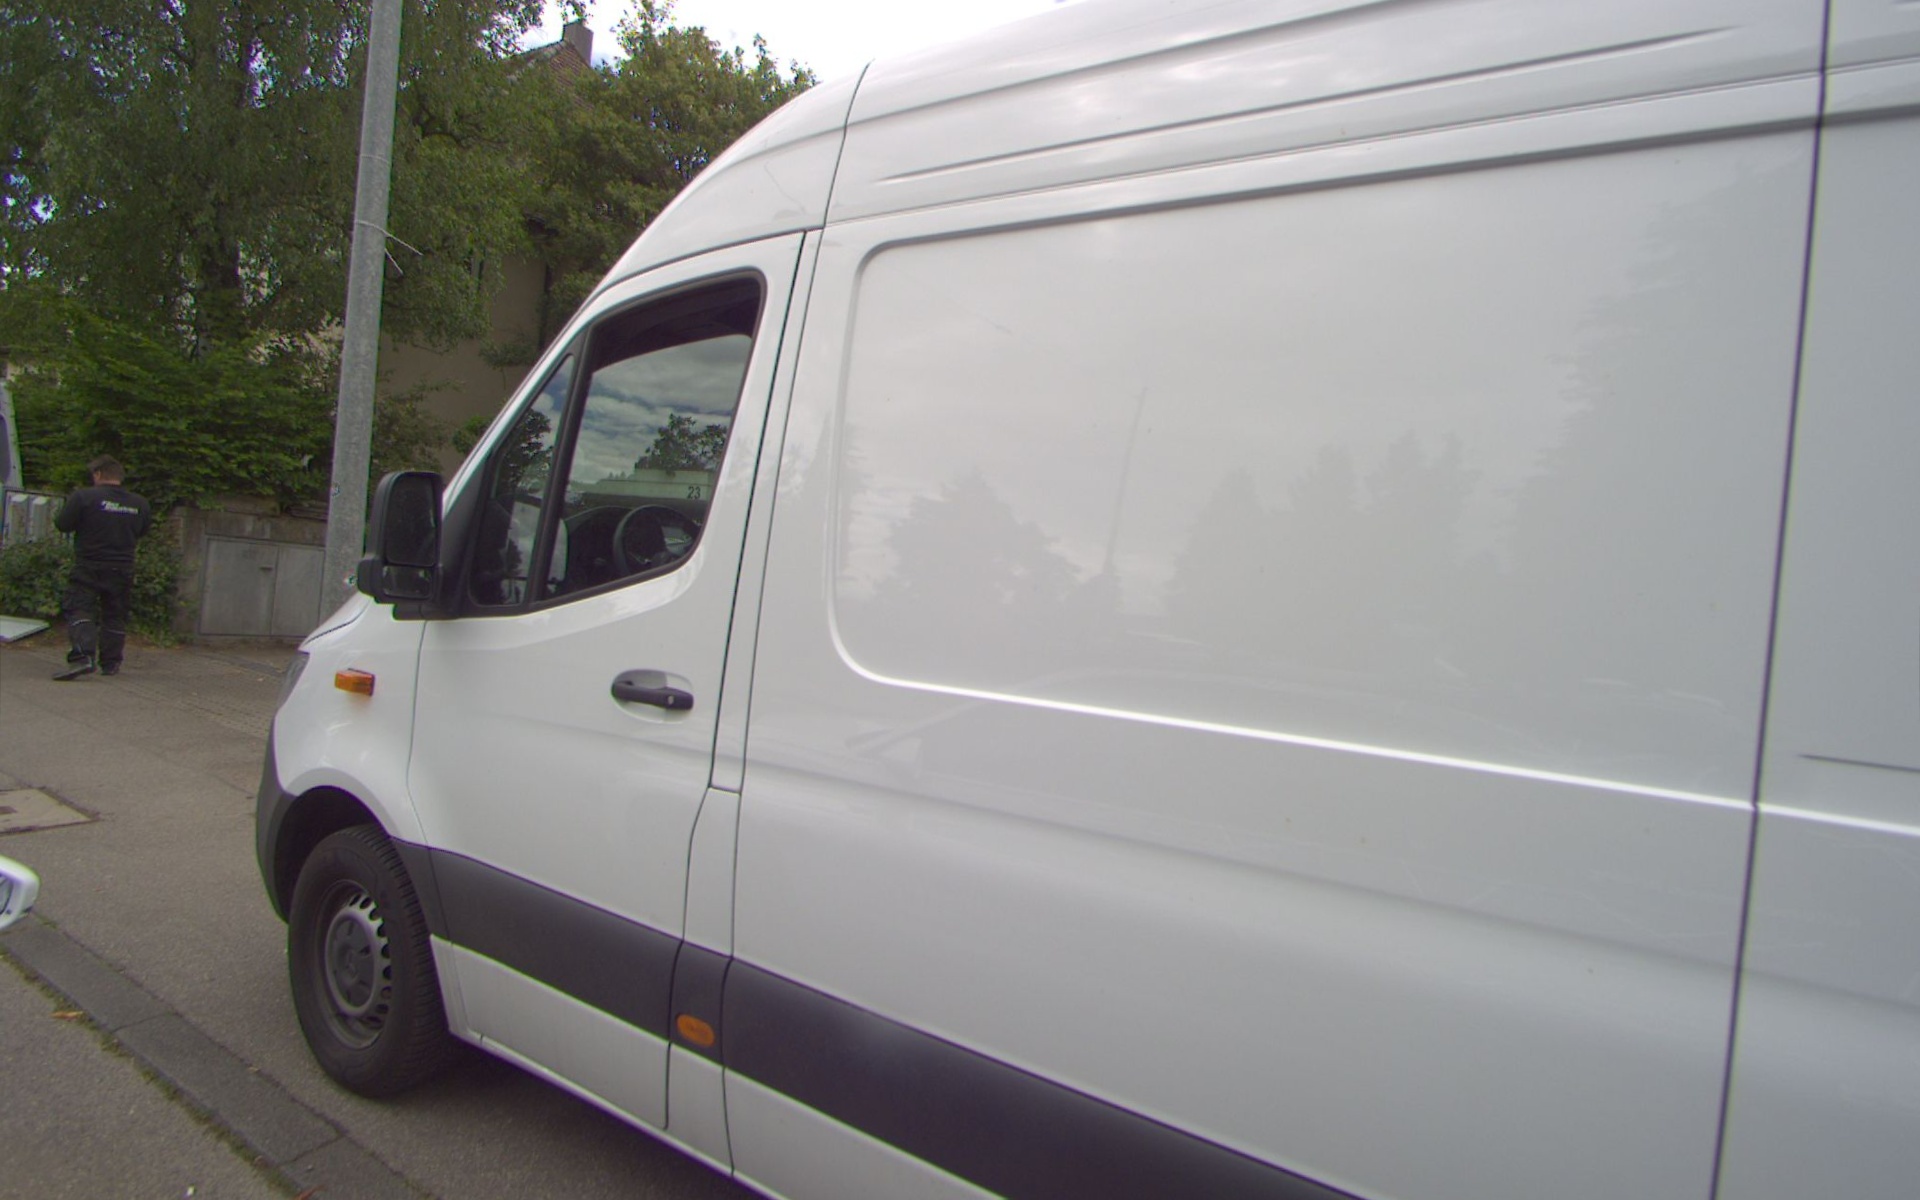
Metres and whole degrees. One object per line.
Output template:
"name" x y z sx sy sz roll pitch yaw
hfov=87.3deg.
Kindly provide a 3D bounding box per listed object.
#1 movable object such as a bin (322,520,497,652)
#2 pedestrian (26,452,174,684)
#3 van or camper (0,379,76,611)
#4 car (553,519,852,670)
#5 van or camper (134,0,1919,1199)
"movable object such as a bin" -6.946 -0.162 12.731 1.276 1.481 1.420 7 2 31
"pedestrian" -6.929 -0.247 8.113 0.644 1.773 0.648 6 0 34
"van or camper" -13.556 -1.406 12.193 6.492 2.529 2.340 5 3 30
"car" -3.652 -0.030 14.972 1.966 1.811 3.990 7 1 30
"van or camper" 0.943 0.233 1.985 6.436 2.661 1.990 6 3 32
